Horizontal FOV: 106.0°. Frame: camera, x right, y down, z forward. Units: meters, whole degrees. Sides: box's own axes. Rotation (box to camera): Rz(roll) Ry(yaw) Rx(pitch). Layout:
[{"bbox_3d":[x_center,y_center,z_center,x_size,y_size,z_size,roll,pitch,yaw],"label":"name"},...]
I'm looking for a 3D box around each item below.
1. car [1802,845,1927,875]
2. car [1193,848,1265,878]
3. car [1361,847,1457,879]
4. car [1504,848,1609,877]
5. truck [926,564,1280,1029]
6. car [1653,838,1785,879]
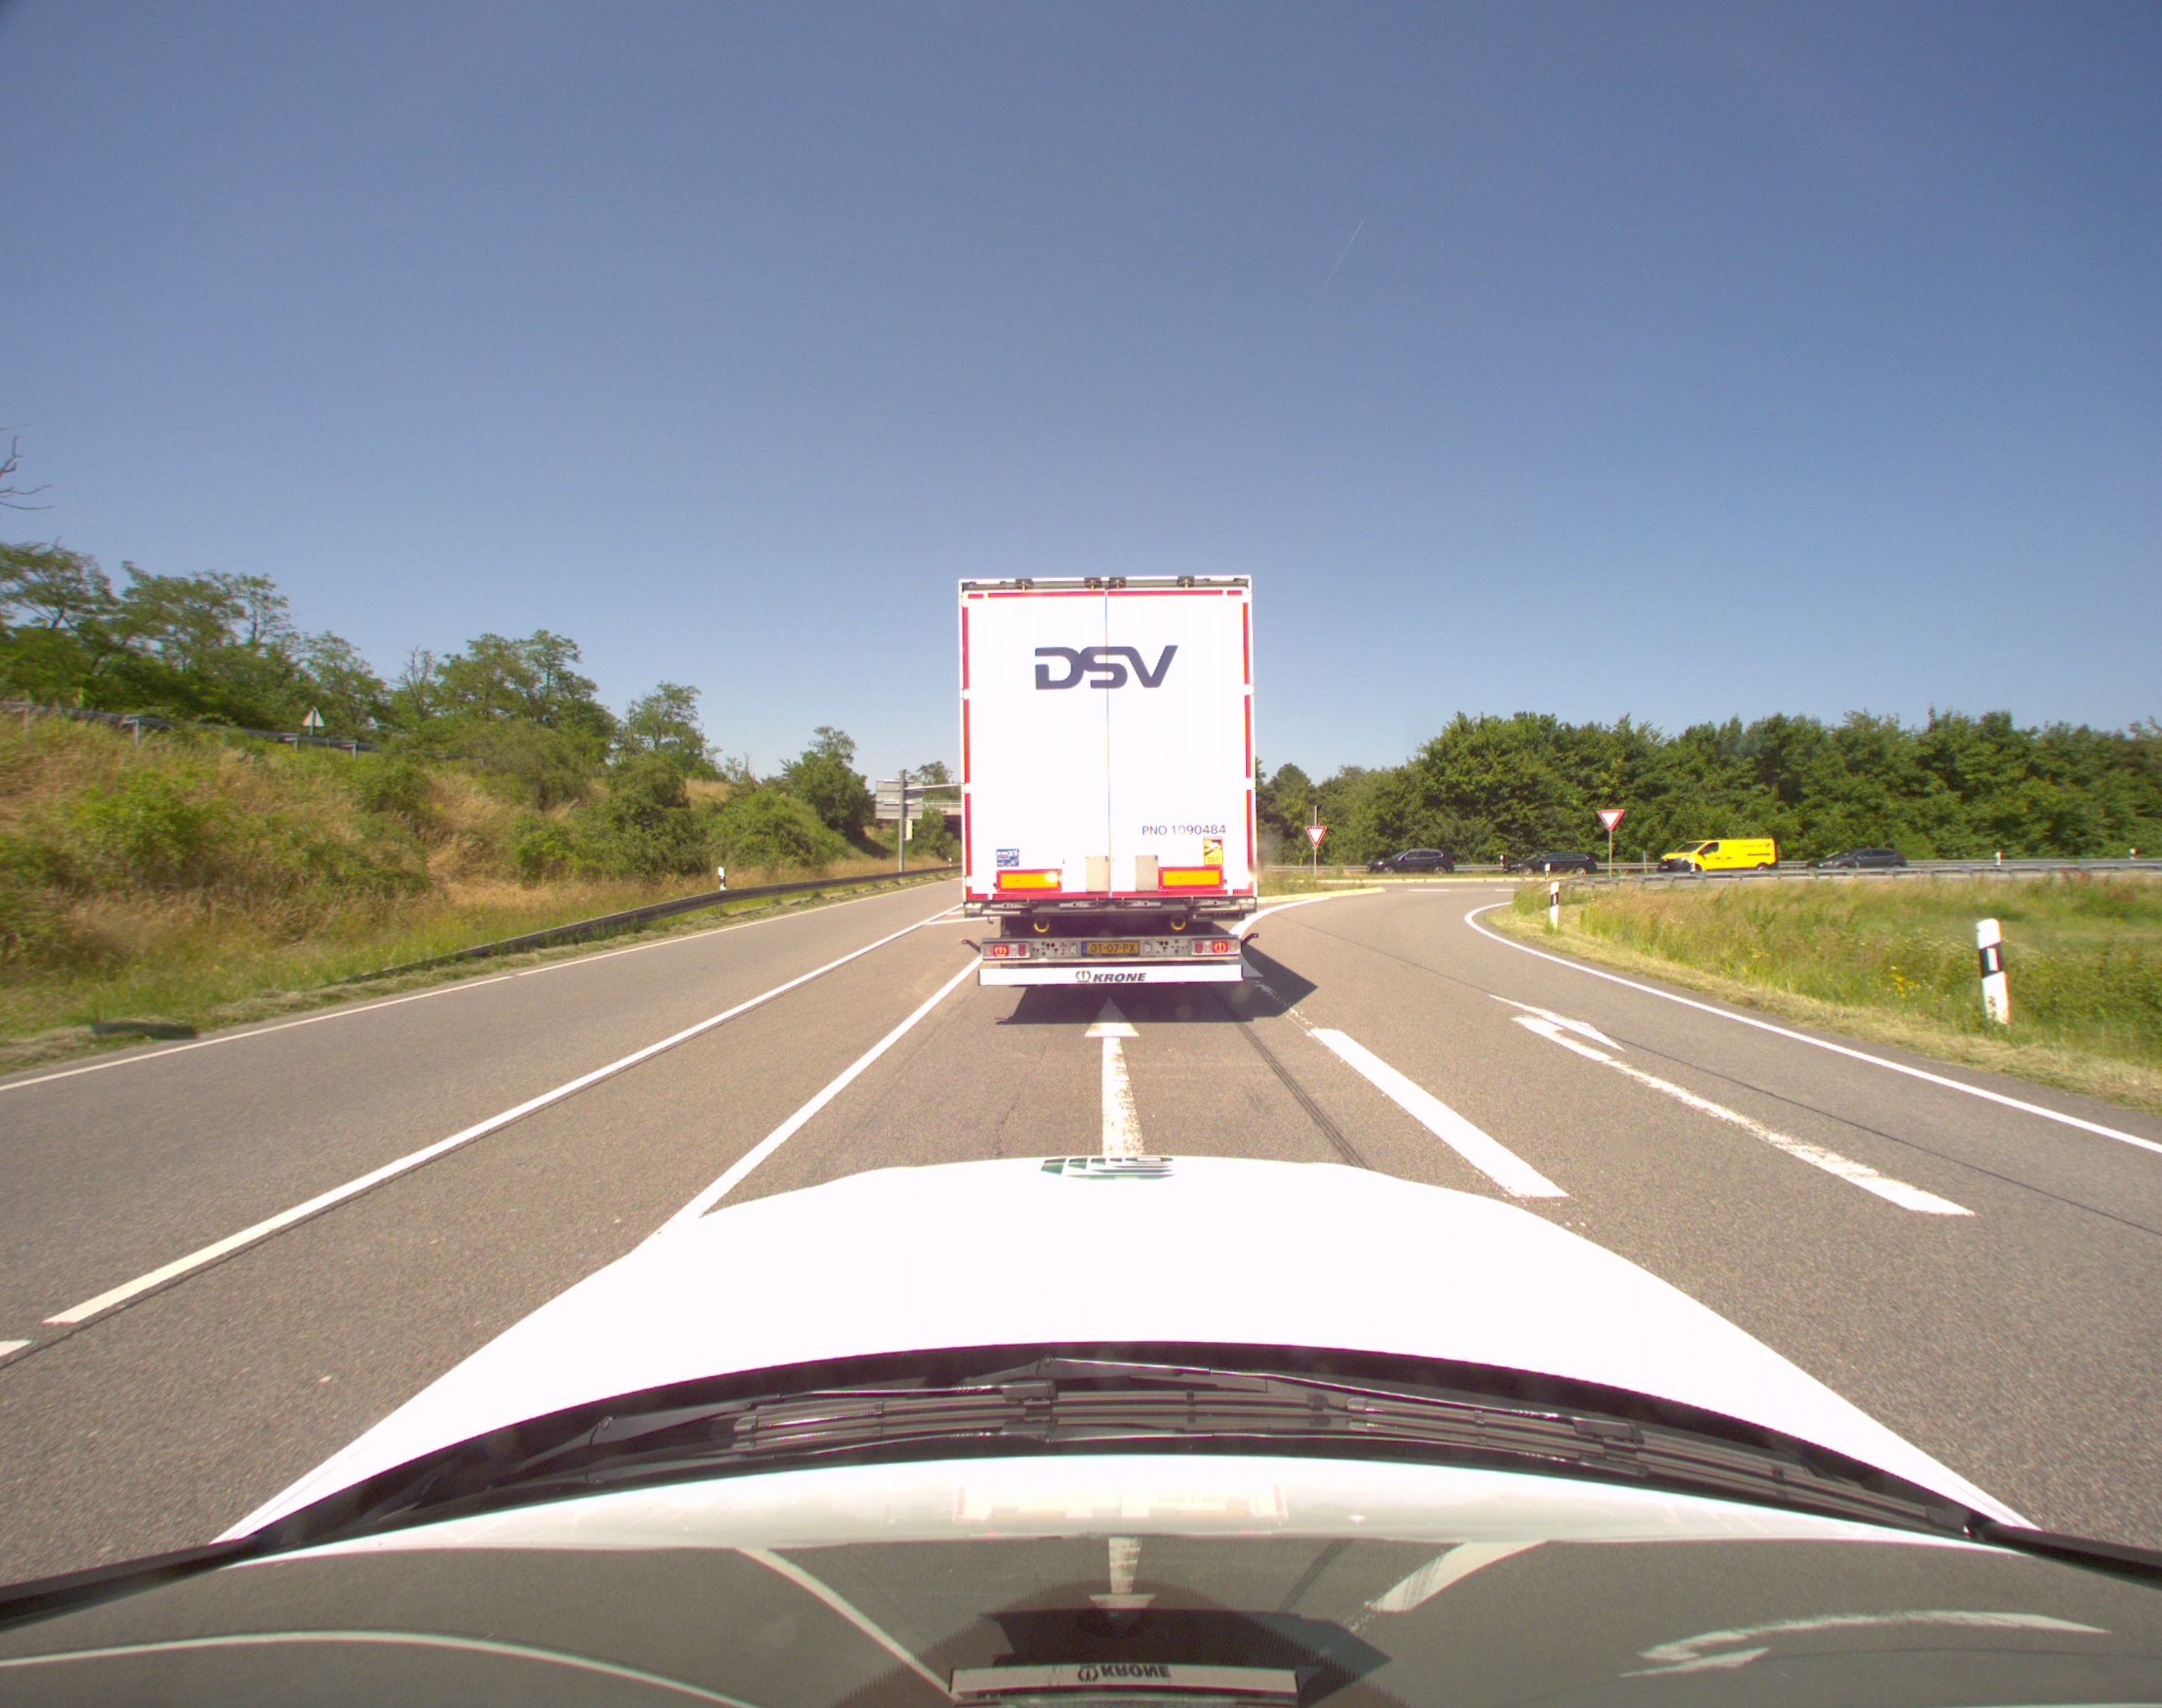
[{"bbox_3d":[41.187,0.332,42.880,4.662,1.514,1.855,-1,-1,3],"label":"car"},{"bbox_3d":[8.506,0.527,47.036,3.964,1.640,1.845,-1,-1,7],"label":"car"},{"bbox_3d":[17.626,0.492,43.908,4.466,1.598,1.769,-1,-1,4],"label":"car"},{"bbox_3d":[26.154,0.497,44.966,4.655,1.514,1.858,-1,-1,8],"label":"car"},{"bbox_3d":[0.294,-0.474,11.901,2.977,3.942,9.877,-1,0,1],"label":"truck"},{"bbox_3d":[33.597,0.246,42.997,5.299,2.014,2.002,-1,-1,3],"label":"car"}]
